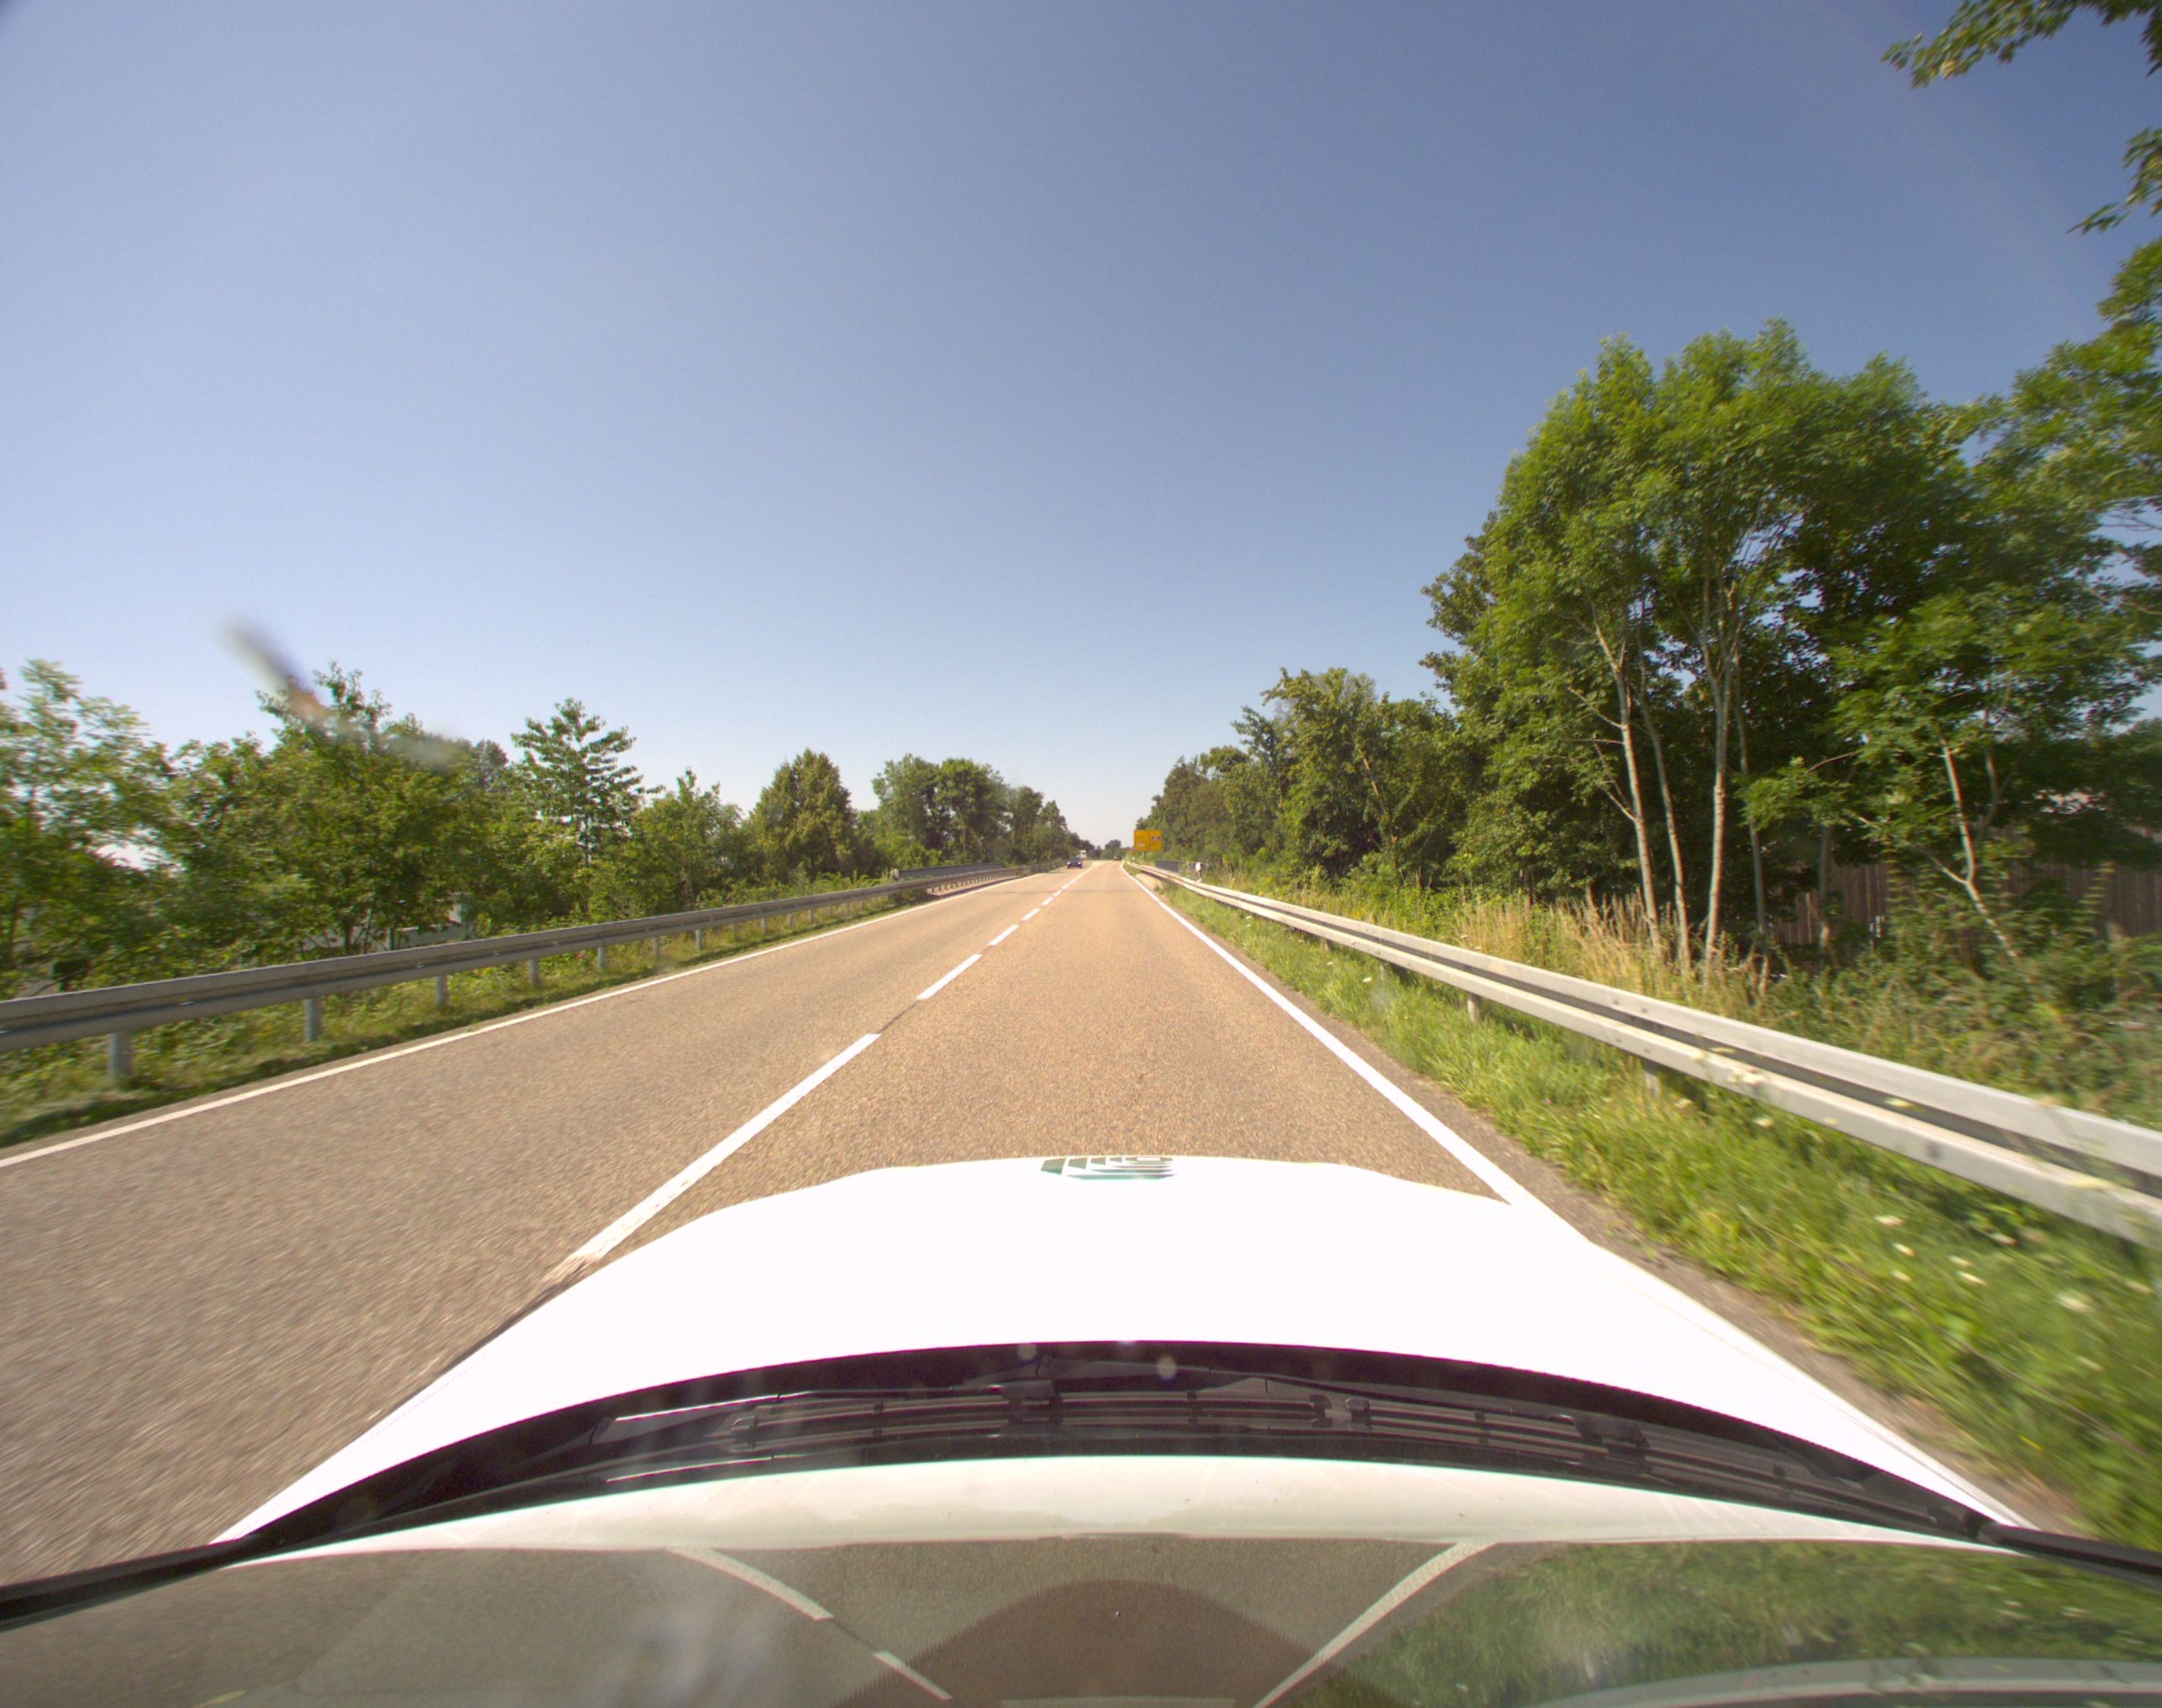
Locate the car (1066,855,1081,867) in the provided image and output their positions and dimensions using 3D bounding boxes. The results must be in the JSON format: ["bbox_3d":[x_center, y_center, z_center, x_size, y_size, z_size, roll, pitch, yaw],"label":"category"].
[{"bbox_3d":[-0.983,0.911,105.086,1.739,1.425,4.679,-1,0,2],"label":"car"}]

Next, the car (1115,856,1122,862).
[{"bbox_3d":[9.483,1.148,206.165,1.734,1.470,3.695,-1,0,3],"label":"car"}]
